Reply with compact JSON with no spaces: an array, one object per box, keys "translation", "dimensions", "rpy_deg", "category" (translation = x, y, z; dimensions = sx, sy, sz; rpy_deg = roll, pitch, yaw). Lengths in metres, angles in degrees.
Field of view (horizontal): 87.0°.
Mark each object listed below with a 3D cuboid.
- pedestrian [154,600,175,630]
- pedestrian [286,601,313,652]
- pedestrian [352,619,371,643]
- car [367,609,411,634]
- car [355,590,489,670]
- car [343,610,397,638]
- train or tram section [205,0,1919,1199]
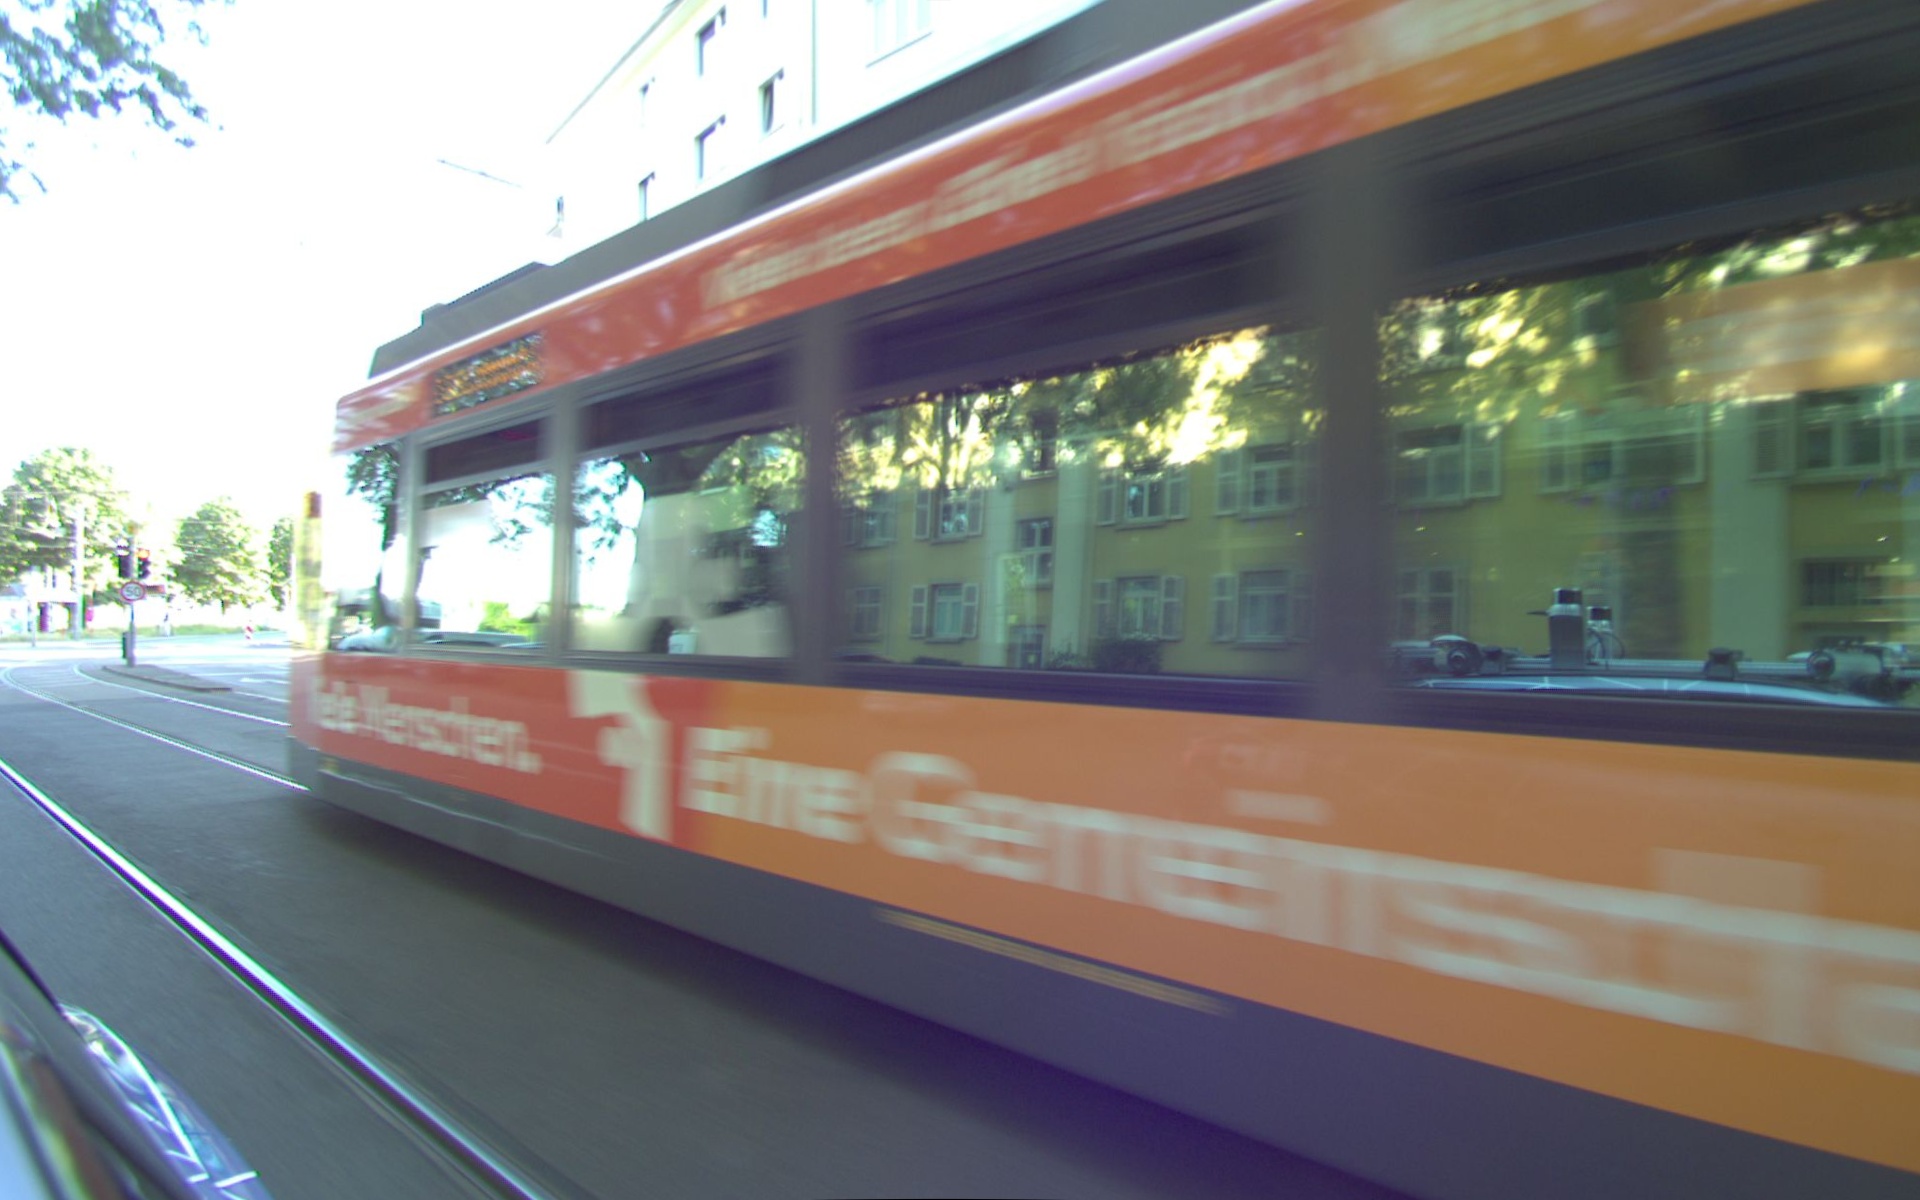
[{"translation":[-53.950,1.025,68.632],"dimensions":[0.858,2.029,0.902],"rpy_deg":[-1,0,36],"category":"pedestrian"},{"translation":[-22.118,0.883,33.885],"dimensions":[0.742,1.693,0.795],"rpy_deg":[0,-1,-34],"category":"pedestrian"},{"translation":[-50.123,2.605,84.768],"dimensions":[0.871,2.029,0.994],"rpy_deg":[-1,0,20],"category":"pedestrian"},{"translation":[-34.316,1.279,60.911],"dimensions":[1.614,1.333,3.349],"rpy_deg":[-3,0,-18],"category":"car"},{"translation":[-13.677,0.722,25.620],"dimensions":[1.970,1.846,4.228],"rpy_deg":[1,-1,-43],"category":"car"},{"translation":[-32.776,1.305,56.283],"dimensions":[1.787,1.439,3.752],"rpy_deg":[-3,0,-18],"category":"car"},{"translation":[0.135,-0.471,4.488],"dimensions":[13.363,3.512,2.878],"rpy_deg":[-1,0,41],"category":"train or tram section"}]
